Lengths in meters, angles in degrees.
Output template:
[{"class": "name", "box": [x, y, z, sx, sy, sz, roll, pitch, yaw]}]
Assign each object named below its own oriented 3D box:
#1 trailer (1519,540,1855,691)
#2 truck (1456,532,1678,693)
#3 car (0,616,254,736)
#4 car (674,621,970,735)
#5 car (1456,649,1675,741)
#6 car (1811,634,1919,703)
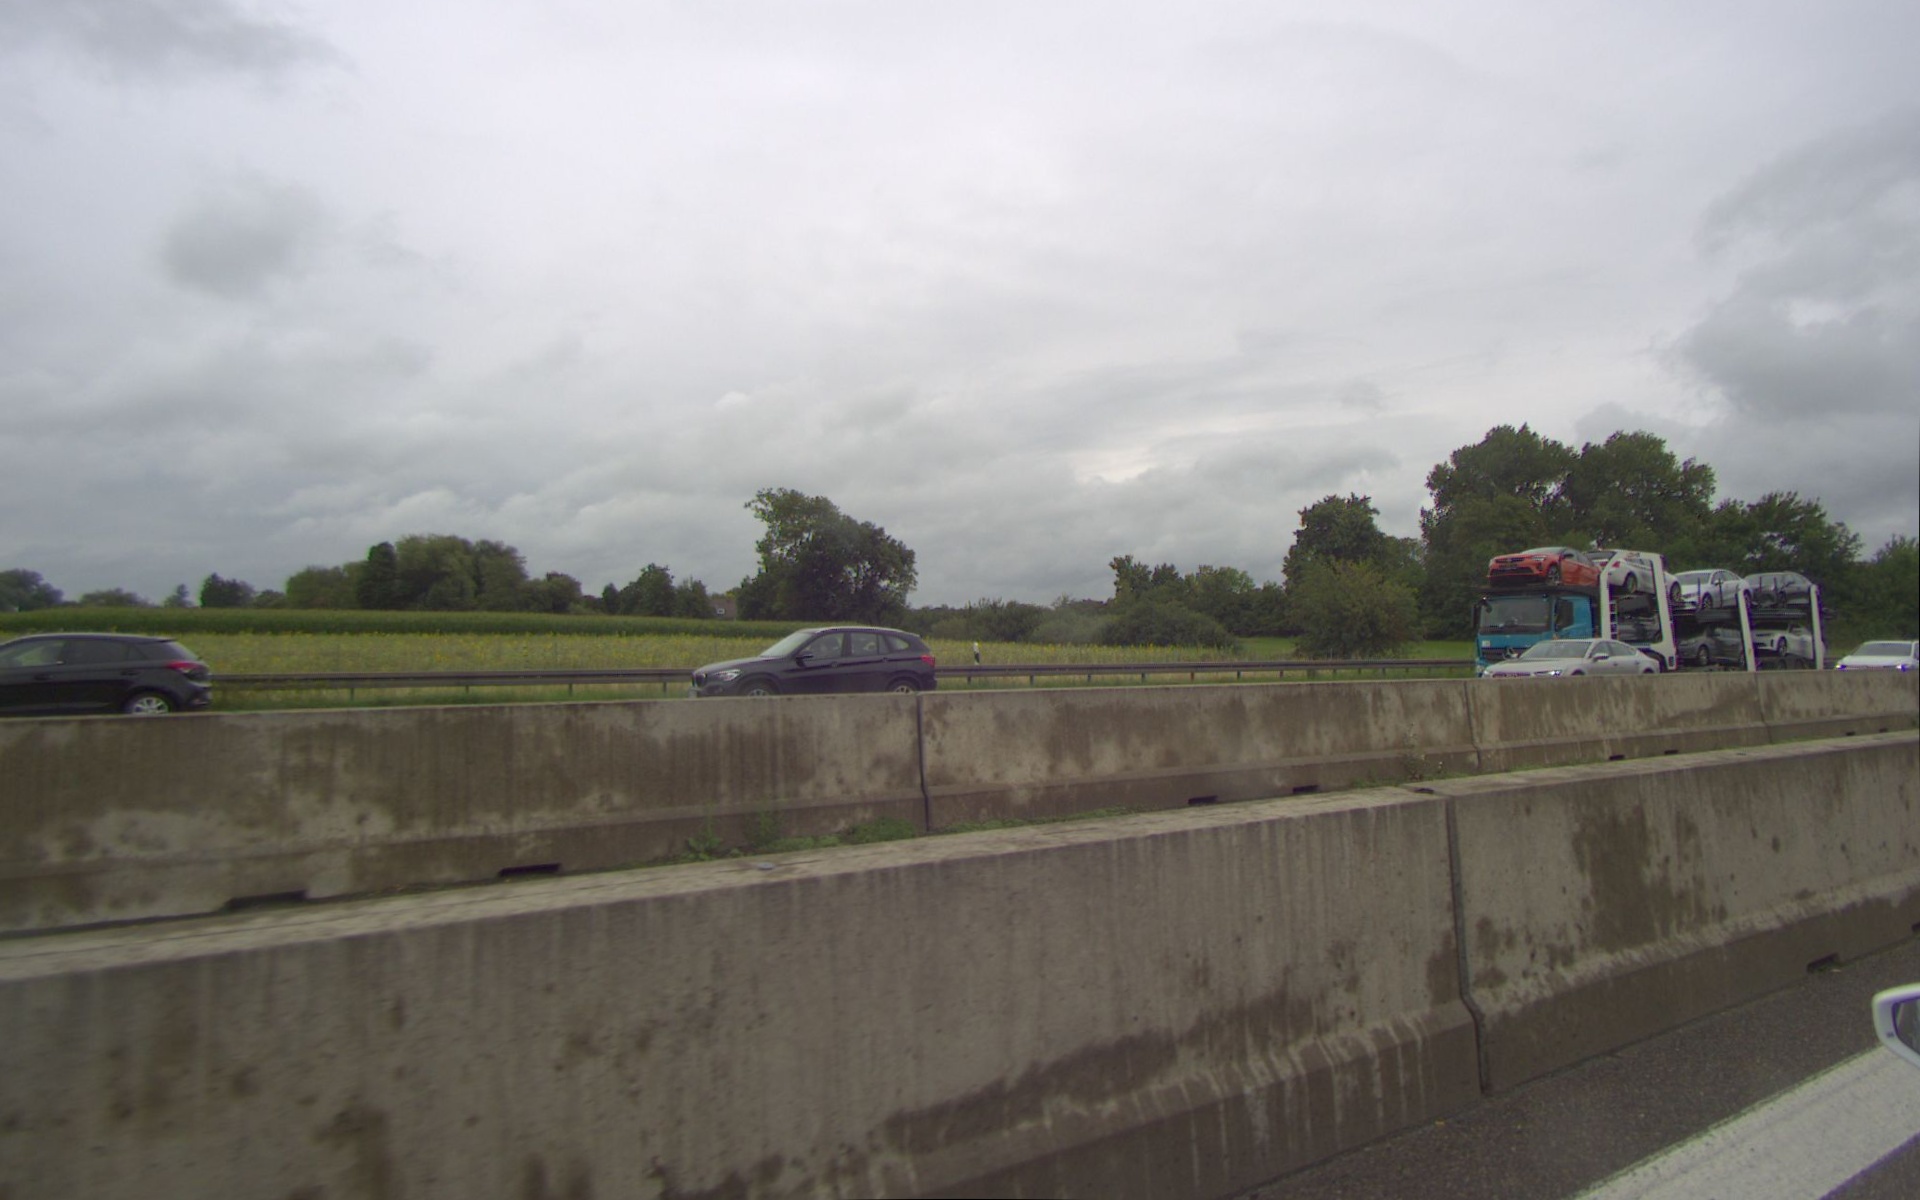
[{"class": "trailer", "box": [24.825, 0.658, 33.692, 15.522, 4.298, 2.984, 2, 0, -30]}, {"class": "truck", "box": [17.946, 0.413, 29.646, 6.162, 4.298, 2.942, 2, 0, -31]}, {"class": "car", "box": [-13.256, 1.105, 15.269, 3.956, 1.617, 1.874, 2, 0, -32]}, {"class": "car", "box": [-2.398, 1.284, 17.706, 4.741, 1.733, 2.084, 1, 0, -29]}, {"class": "car", "box": [13.626, 2.033, 22.514, 5.106, 1.733, 2.083, 1, 0, -31]}, {"class": "car", "box": [28.523, 2.066, 30.918, 4.973, 1.904, 1.984, 2, 0, -30]}]
